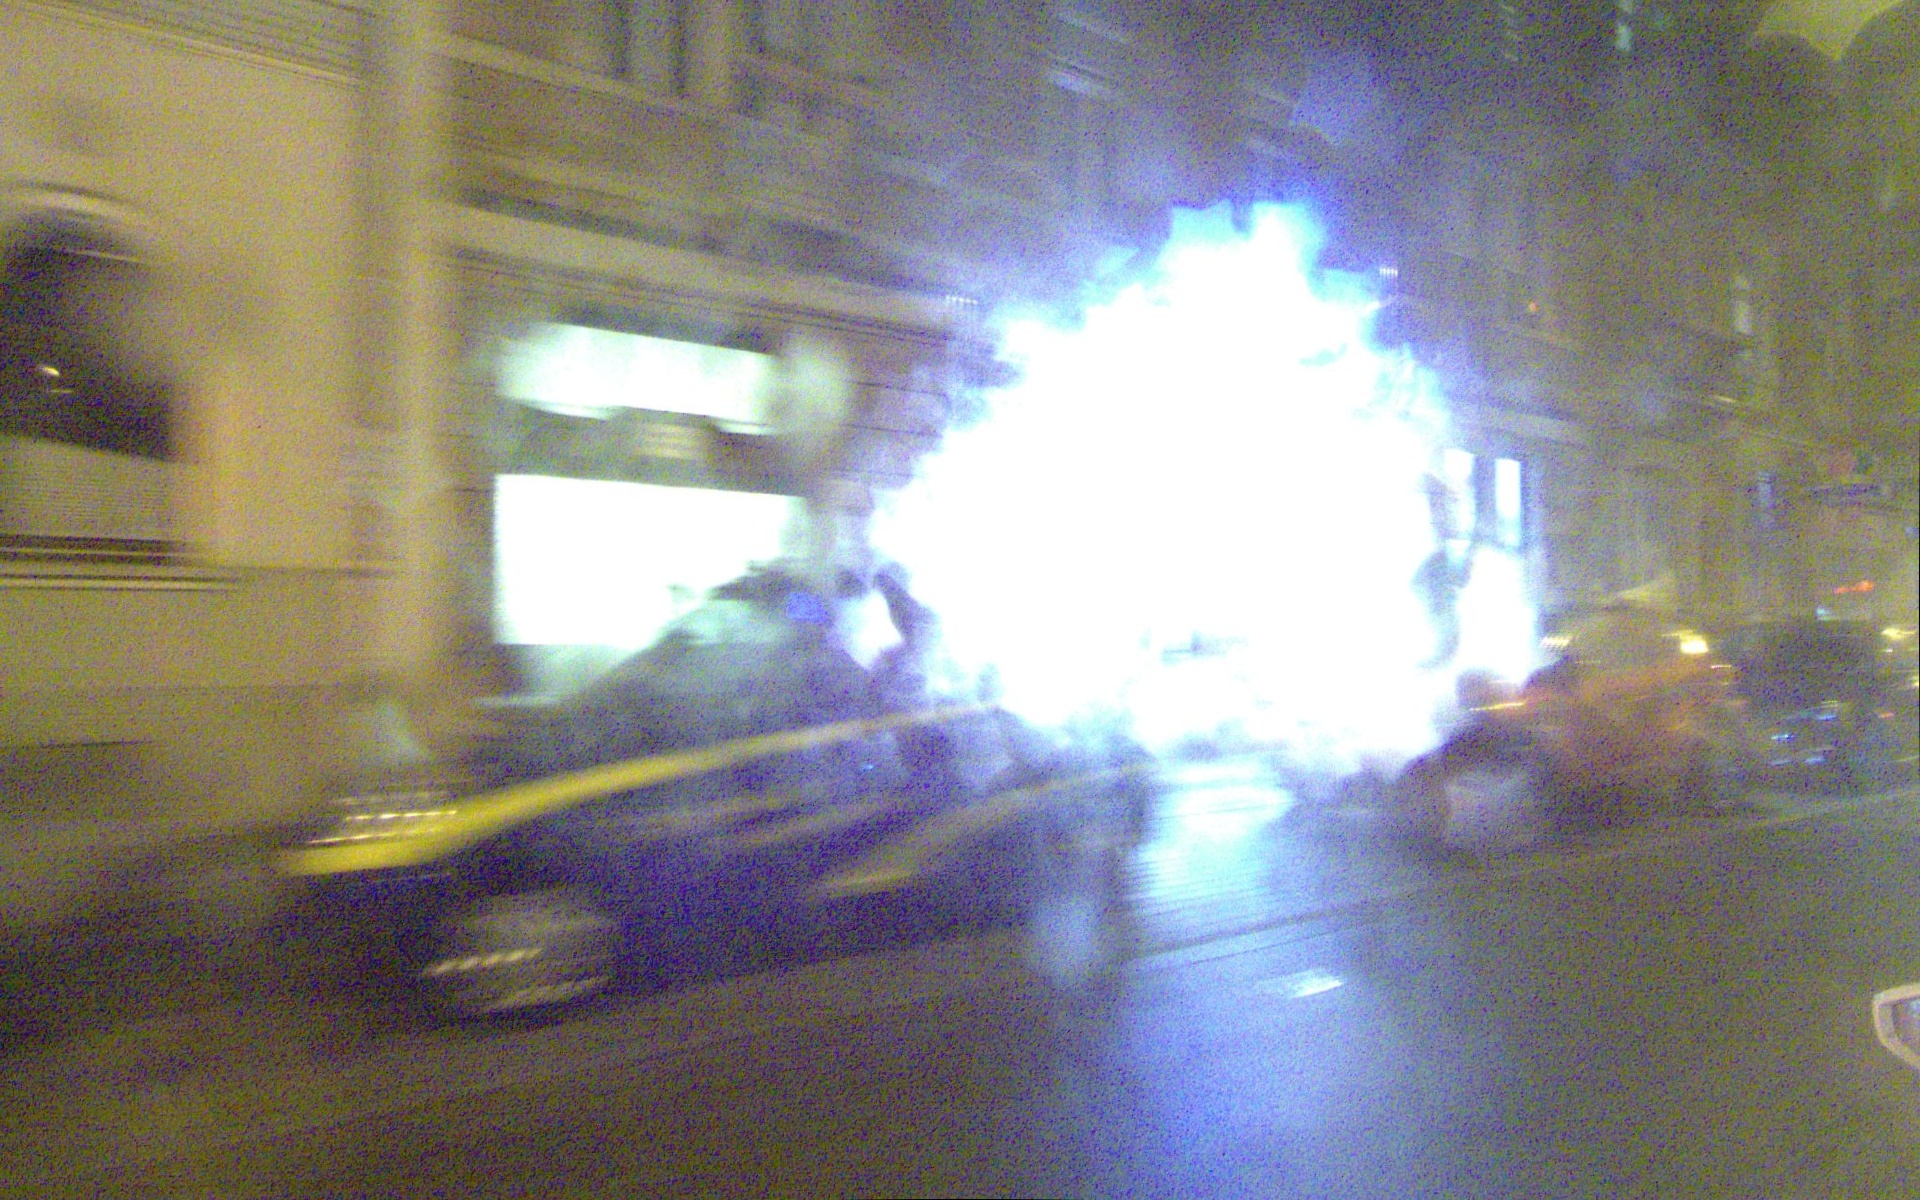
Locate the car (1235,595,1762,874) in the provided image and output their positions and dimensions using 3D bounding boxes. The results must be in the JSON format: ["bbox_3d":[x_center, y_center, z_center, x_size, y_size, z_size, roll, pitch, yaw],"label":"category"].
[{"bbox_3d":[4.050,0.778,7.396,3.978,1.573,1.595,1,0,-31],"label":"car"}]

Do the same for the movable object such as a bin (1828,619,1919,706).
[{"bbox_3d":[16.385,1.084,17.811,1.139,1.439,1.136,1,1,-27],"label":"movable object such as a bin"}]

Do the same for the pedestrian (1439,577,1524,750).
[{"bbox_3d":[5.648,0.670,10.887,0.543,1.804,0.636,1,-1,-29],"label":"pedestrian"}]

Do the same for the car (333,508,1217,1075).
[{"bbox_3d":[-0.716,0.617,4.701,3.678,1.729,1.595,1,0,-31],"label":"car"}]

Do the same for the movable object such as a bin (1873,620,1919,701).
[{"bbox_3d":[17.950,1.125,18.611,1.232,1.439,1.136,1,1,-27],"label":"movable object such as a bin"}]

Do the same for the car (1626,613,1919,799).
[{"bbox_3d":[8.609,0.891,9.944,4.265,1.475,1.678,1,0,-31],"label":"car"}]
